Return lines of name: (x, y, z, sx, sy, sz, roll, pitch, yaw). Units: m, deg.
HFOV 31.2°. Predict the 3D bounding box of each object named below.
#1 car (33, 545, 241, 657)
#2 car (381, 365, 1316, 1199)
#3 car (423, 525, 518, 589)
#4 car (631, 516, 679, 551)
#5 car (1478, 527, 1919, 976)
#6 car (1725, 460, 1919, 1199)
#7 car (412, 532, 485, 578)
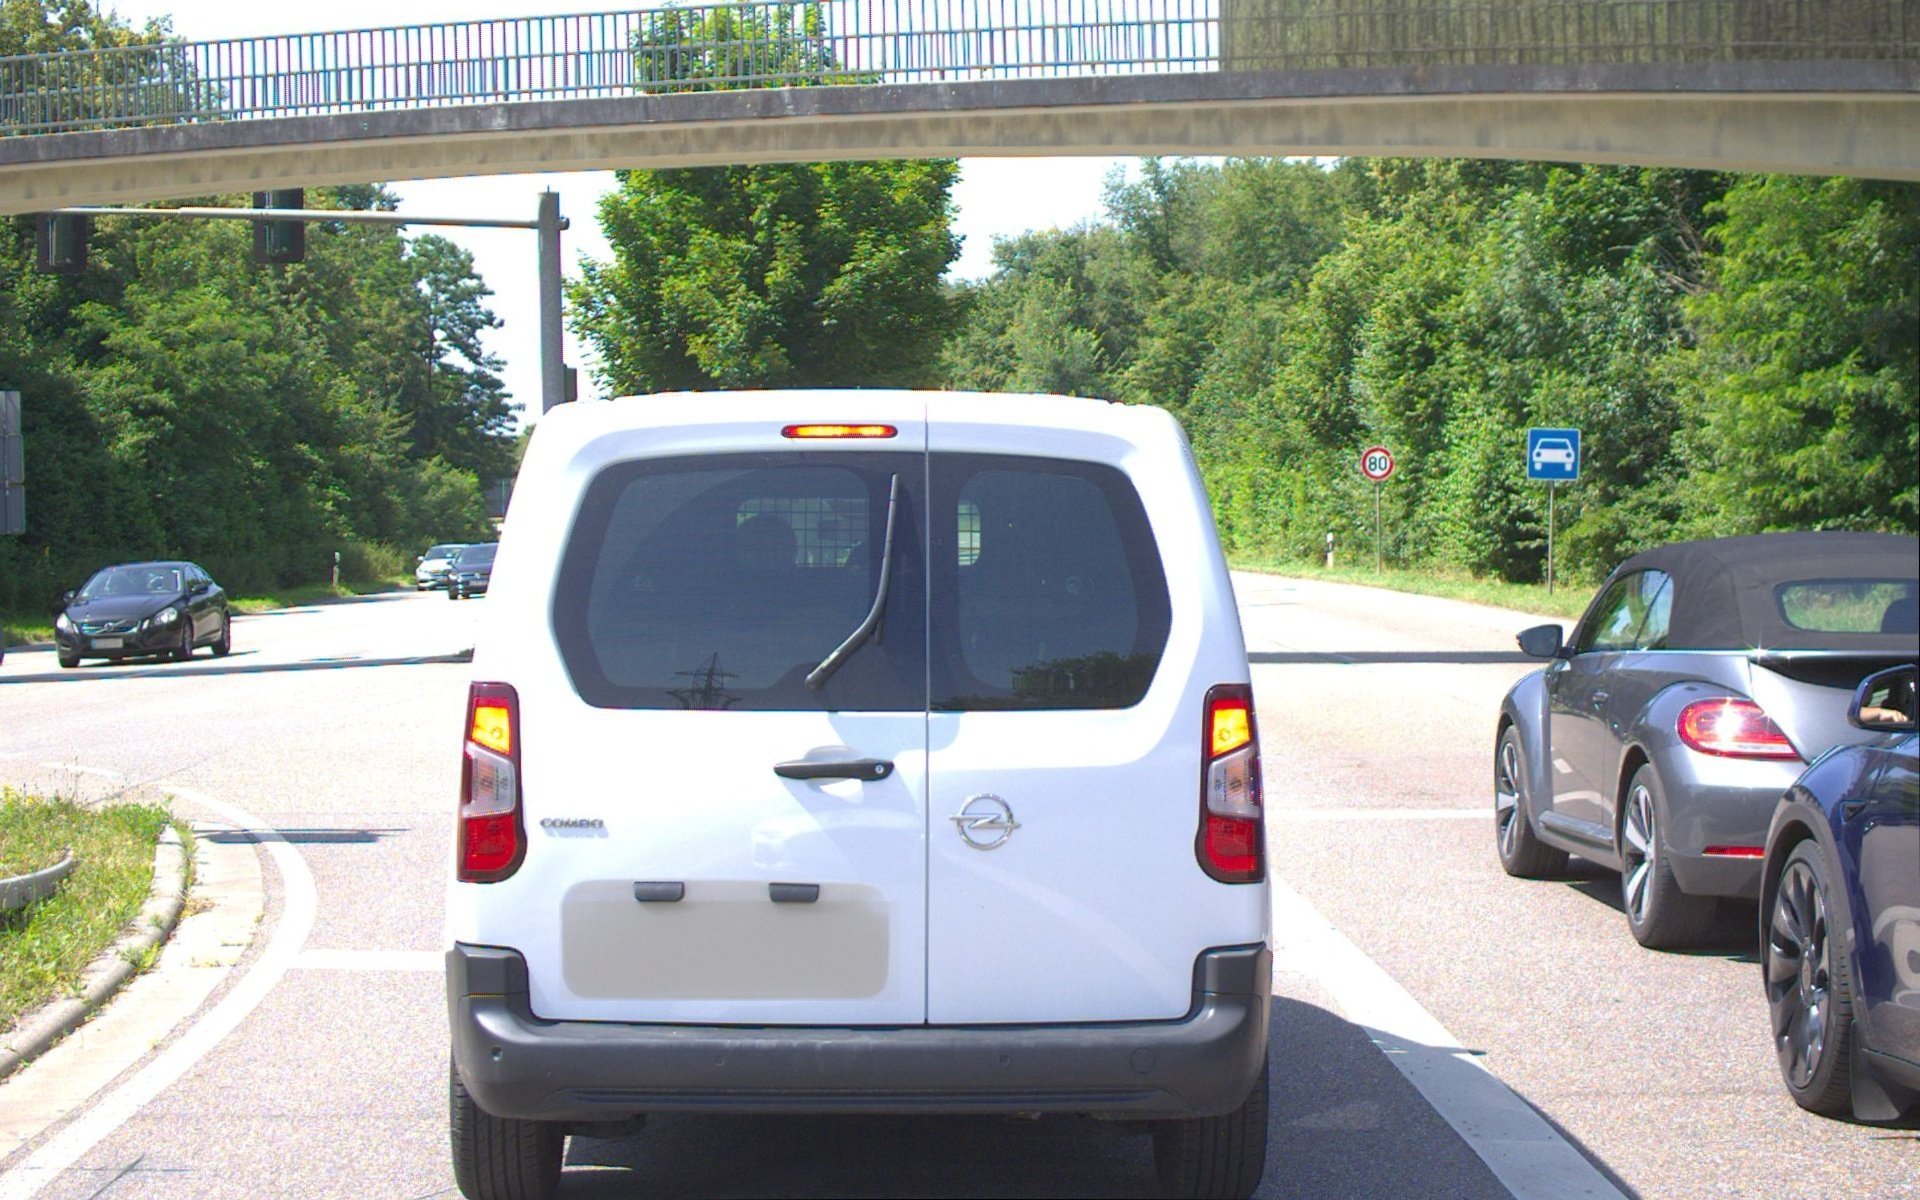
car: (-11.788, -0.023, 49.504, 2.008, 1.455, 4.055, -2, 1, 0)
car: (-0.270, 0.386, 8.856, 1.849, 1.819, 3.982, 1, 2, -1)
car: (-13.305, -1.191, 93.657, 1.993, 1.659, 4.000, -1, 1, 0)
car: (-14.895, -3.262, 167.912, 1.993, 1.659, 4.000, -1, 1, 0)
car: (3.288, 0.469, 13.385, 1.900, 1.472, 3.939, 1, 1, 0)
car: (3.081, 0.530, 7.182, 1.900, 1.639, 4.520, 1, 1, 0)
car: (-16.454, -1.467, 110.799, 1.752, 1.402, 4.000, -1, 1, 0)
